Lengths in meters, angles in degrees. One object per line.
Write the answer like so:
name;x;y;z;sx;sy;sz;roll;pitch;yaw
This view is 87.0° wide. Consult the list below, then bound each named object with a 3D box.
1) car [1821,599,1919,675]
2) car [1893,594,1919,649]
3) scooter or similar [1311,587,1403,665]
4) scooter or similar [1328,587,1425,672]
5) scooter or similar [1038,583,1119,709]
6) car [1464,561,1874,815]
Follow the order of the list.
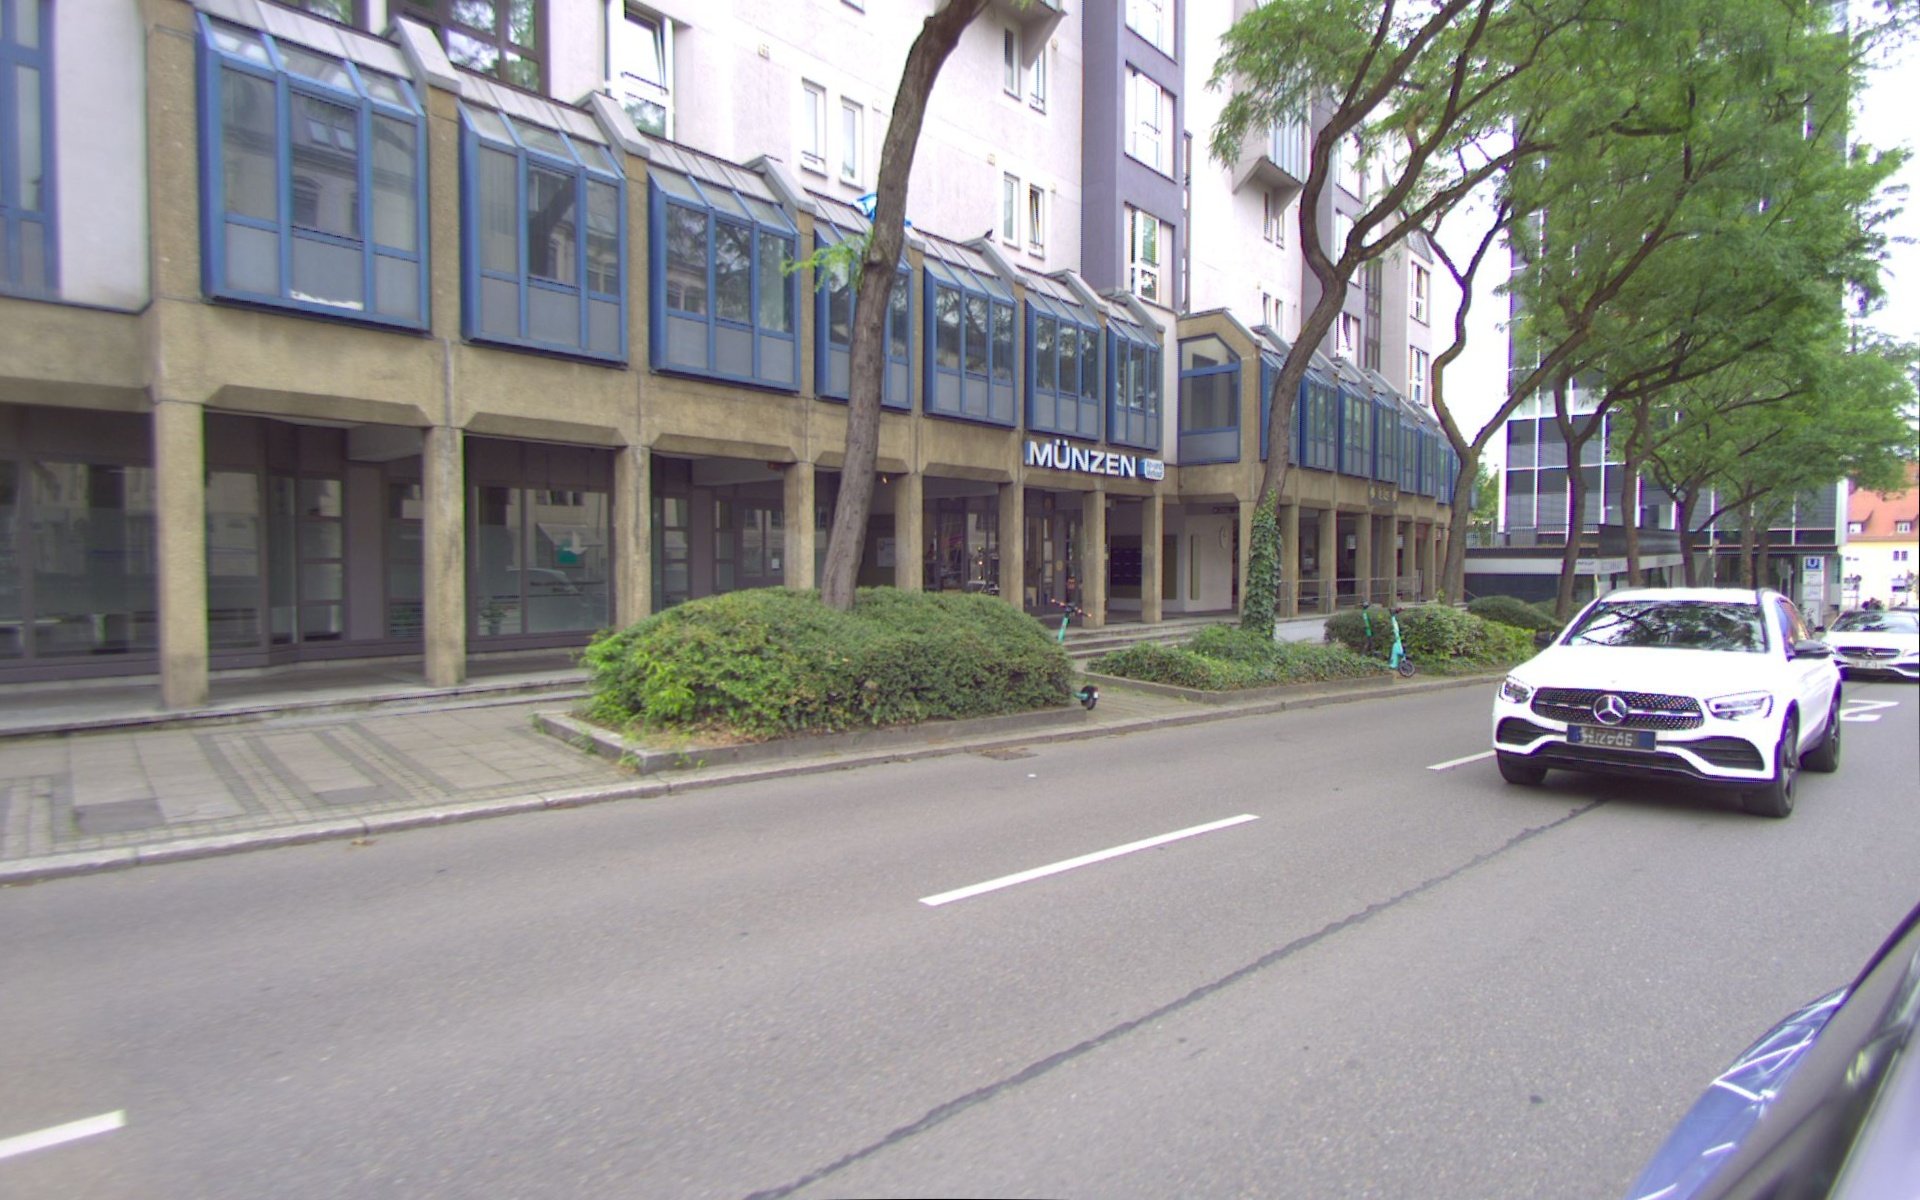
car;19.775;0.710;21.365;4.532;1.404;1.887;-1;1;-42
car;30.288;0.630;31.431;3.598;1.632;1.638;-1;0;-42
scooter or similar;7.583;0.481;19.411;1.576;1.452;0.728;0;0;18
scooter or similar;7.342;0.508;17.909;1.513;1.452;0.684;0;0;18
scooter or similar;1.422;0.522;12.290;0.564;1.452;1.185;0;0;-15
car;6.103;0.584;8.557;3.859;1.629;2.057;1;-1;-42
